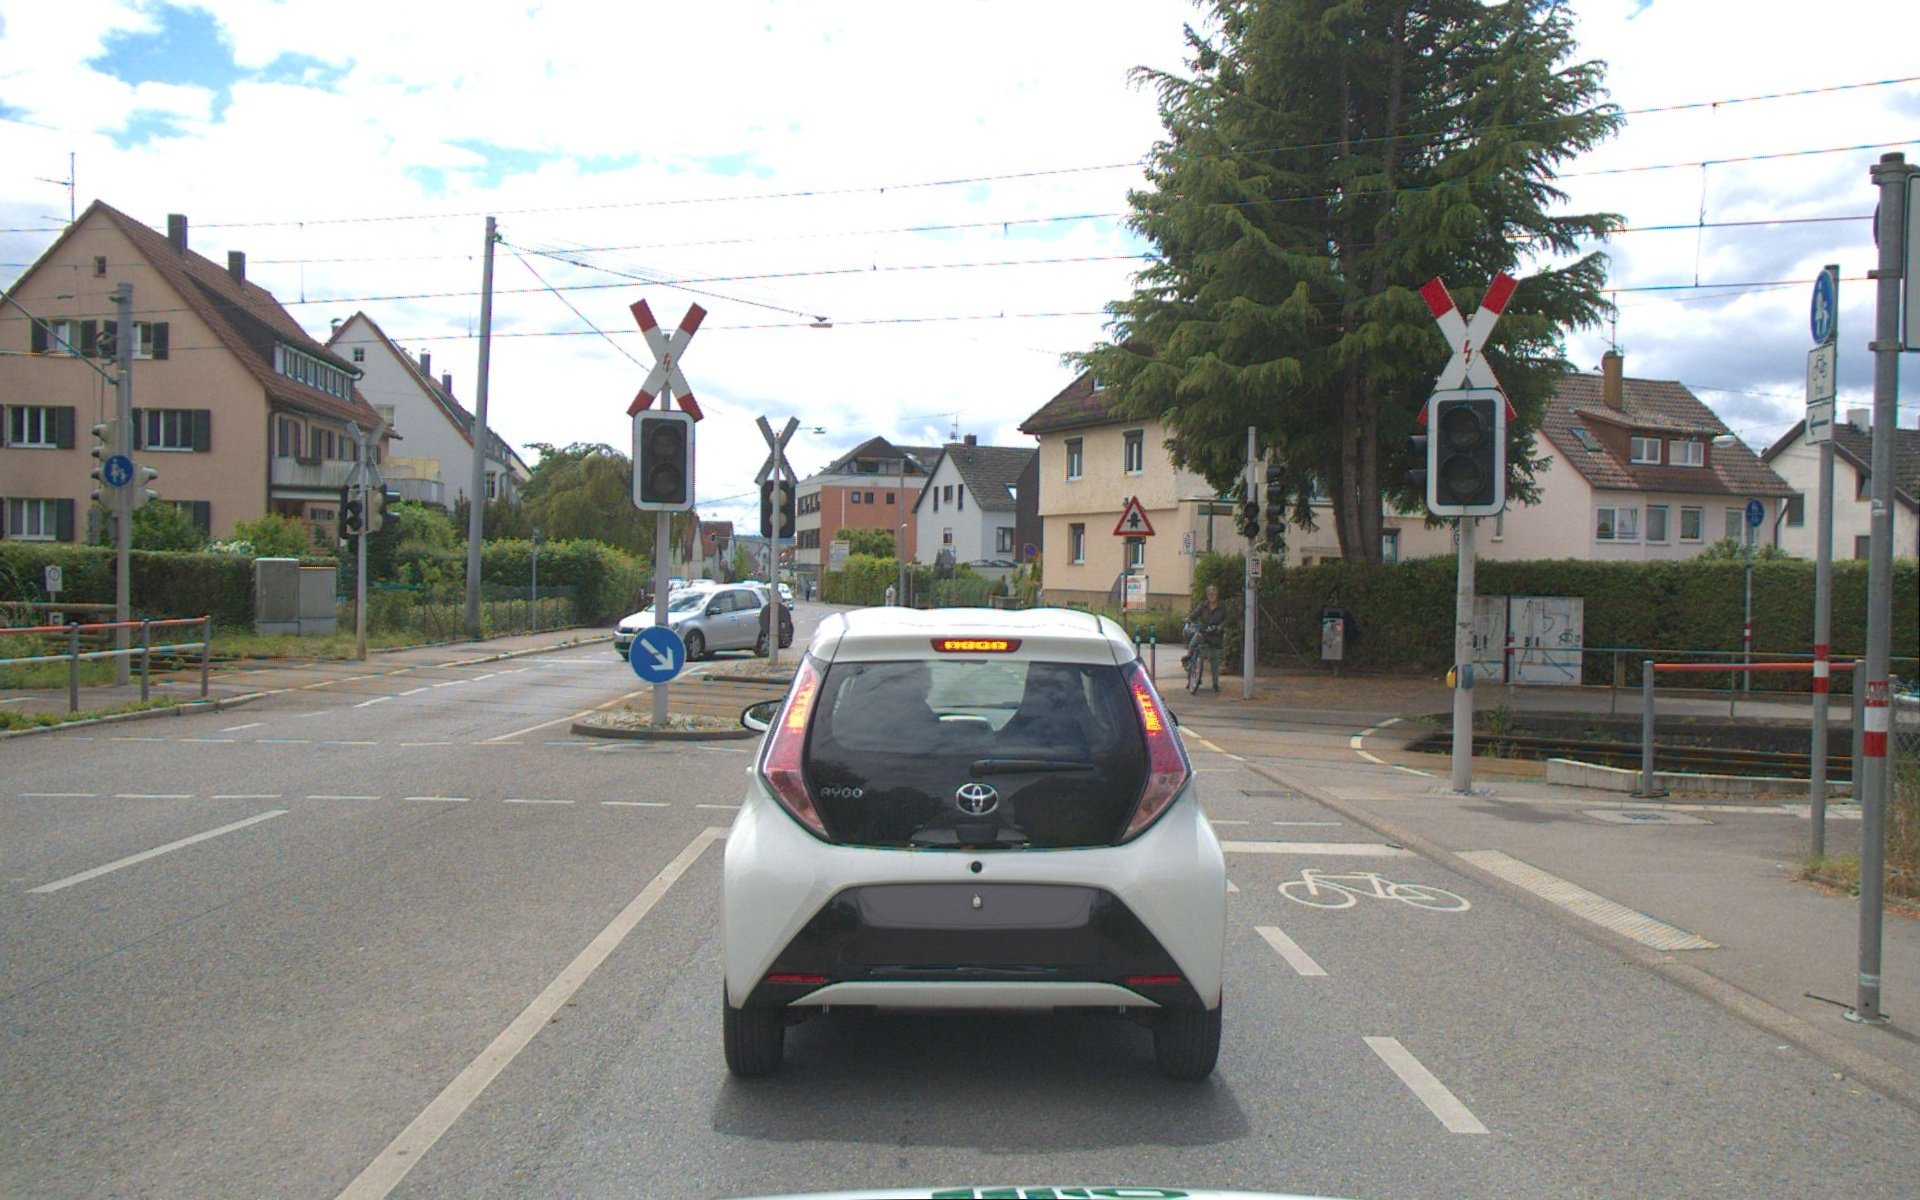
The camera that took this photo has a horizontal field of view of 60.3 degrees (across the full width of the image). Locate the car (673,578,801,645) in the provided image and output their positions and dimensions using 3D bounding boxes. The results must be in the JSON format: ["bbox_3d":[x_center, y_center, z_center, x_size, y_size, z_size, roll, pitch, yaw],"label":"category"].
[{"bbox_3d":[-5.442,0.293,40.496,1.551,1.536,2.772,1,0,41],"label":"car"}]

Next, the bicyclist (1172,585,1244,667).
[{"bbox_3d":[3.952,0.409,26.292,0.912,1.269,1.102,0,0,21],"label":"bicyclist"}]

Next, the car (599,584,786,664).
[{"bbox_3d":[-5.476,0.444,34.321,1.657,1.483,4.062,1,2,30],"label":"car"}]

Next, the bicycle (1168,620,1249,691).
[{"bbox_3d":[3.985,0.864,26.383,0.912,1.058,1.915,0,0,20],"label":"bicycle"}]

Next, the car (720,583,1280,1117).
[{"bbox_3d":[0.090,0.725,6.724,1.588,1.512,3.999,1,0,-1],"label":"car"}]

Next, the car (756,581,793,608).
[{"bbox_3d":[-11.190,-0.331,99.474,1.744,1.589,4.156,0,1,-13],"label":"car"}]

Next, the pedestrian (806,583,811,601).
[{"bbox_3d":[-12.753,-0.657,139.290,0.406,1.463,0.436,1,0,-11],"label":"pedestrian"}]

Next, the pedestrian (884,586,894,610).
[{"bbox_3d":[-4.362,-0.140,102.005,0.434,1.463,0.408,1,1,-41],"label":"pedestrian"}]
